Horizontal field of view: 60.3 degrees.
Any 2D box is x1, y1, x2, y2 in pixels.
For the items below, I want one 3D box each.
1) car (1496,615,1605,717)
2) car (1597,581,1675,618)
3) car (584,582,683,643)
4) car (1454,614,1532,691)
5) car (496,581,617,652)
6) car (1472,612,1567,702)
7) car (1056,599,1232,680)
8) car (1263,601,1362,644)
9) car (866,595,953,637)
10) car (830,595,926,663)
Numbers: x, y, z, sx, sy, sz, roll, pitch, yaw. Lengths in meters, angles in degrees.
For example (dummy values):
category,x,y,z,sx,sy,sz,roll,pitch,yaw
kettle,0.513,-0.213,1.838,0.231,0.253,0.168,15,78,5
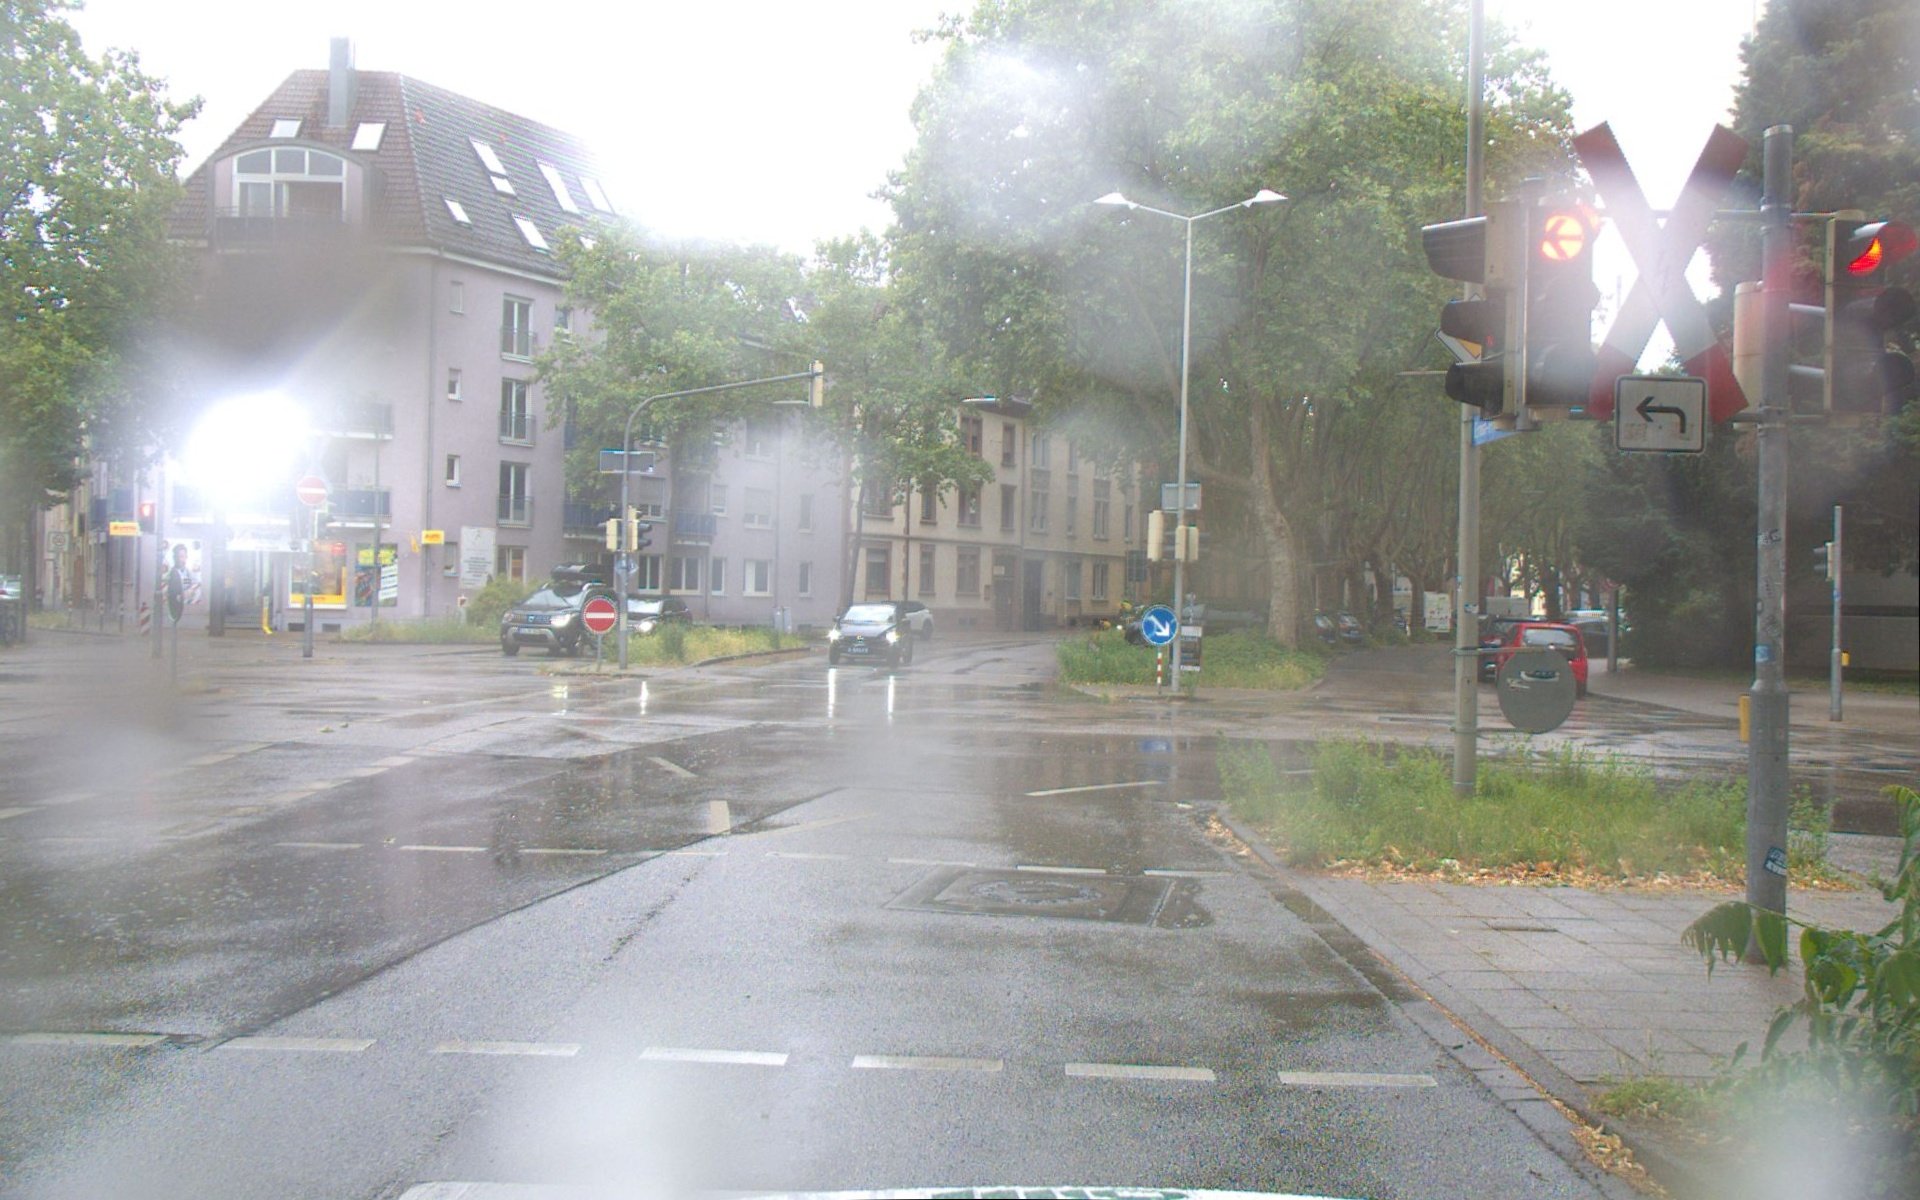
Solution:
category,x,y,z,sx,sy,sz,roll,pitch,yaw
car,13.008,1.398,36.619,1.951,2.049,4.003,0,0,15
car,37.773,-0.029,92.499,3.903,2.049,1.708,0,0,19
car,-8.785,0.316,44.744,1.688,1.579,3.562,0,0,5
car,15.437,1.482,48.024,1.951,2.049,4.003,0,0,15
car,-9.361,0.358,38.628,1.688,1.579,3.562,0,0,5
car,13.819,1.364,41.026,1.951,2.049,4.003,0,0,15
car,3.679,0.773,33.025,3.405,1.550,1.521,0,0,8
car,14.023,0.894,65.755,3.537,1.646,1.679,0,0,28
car,-1.980,0.608,66.186,1.644,1.579,4.194,0,0,27
car,-1.965,0.673,40.446,1.568,1.579,3.563,0,0,10
